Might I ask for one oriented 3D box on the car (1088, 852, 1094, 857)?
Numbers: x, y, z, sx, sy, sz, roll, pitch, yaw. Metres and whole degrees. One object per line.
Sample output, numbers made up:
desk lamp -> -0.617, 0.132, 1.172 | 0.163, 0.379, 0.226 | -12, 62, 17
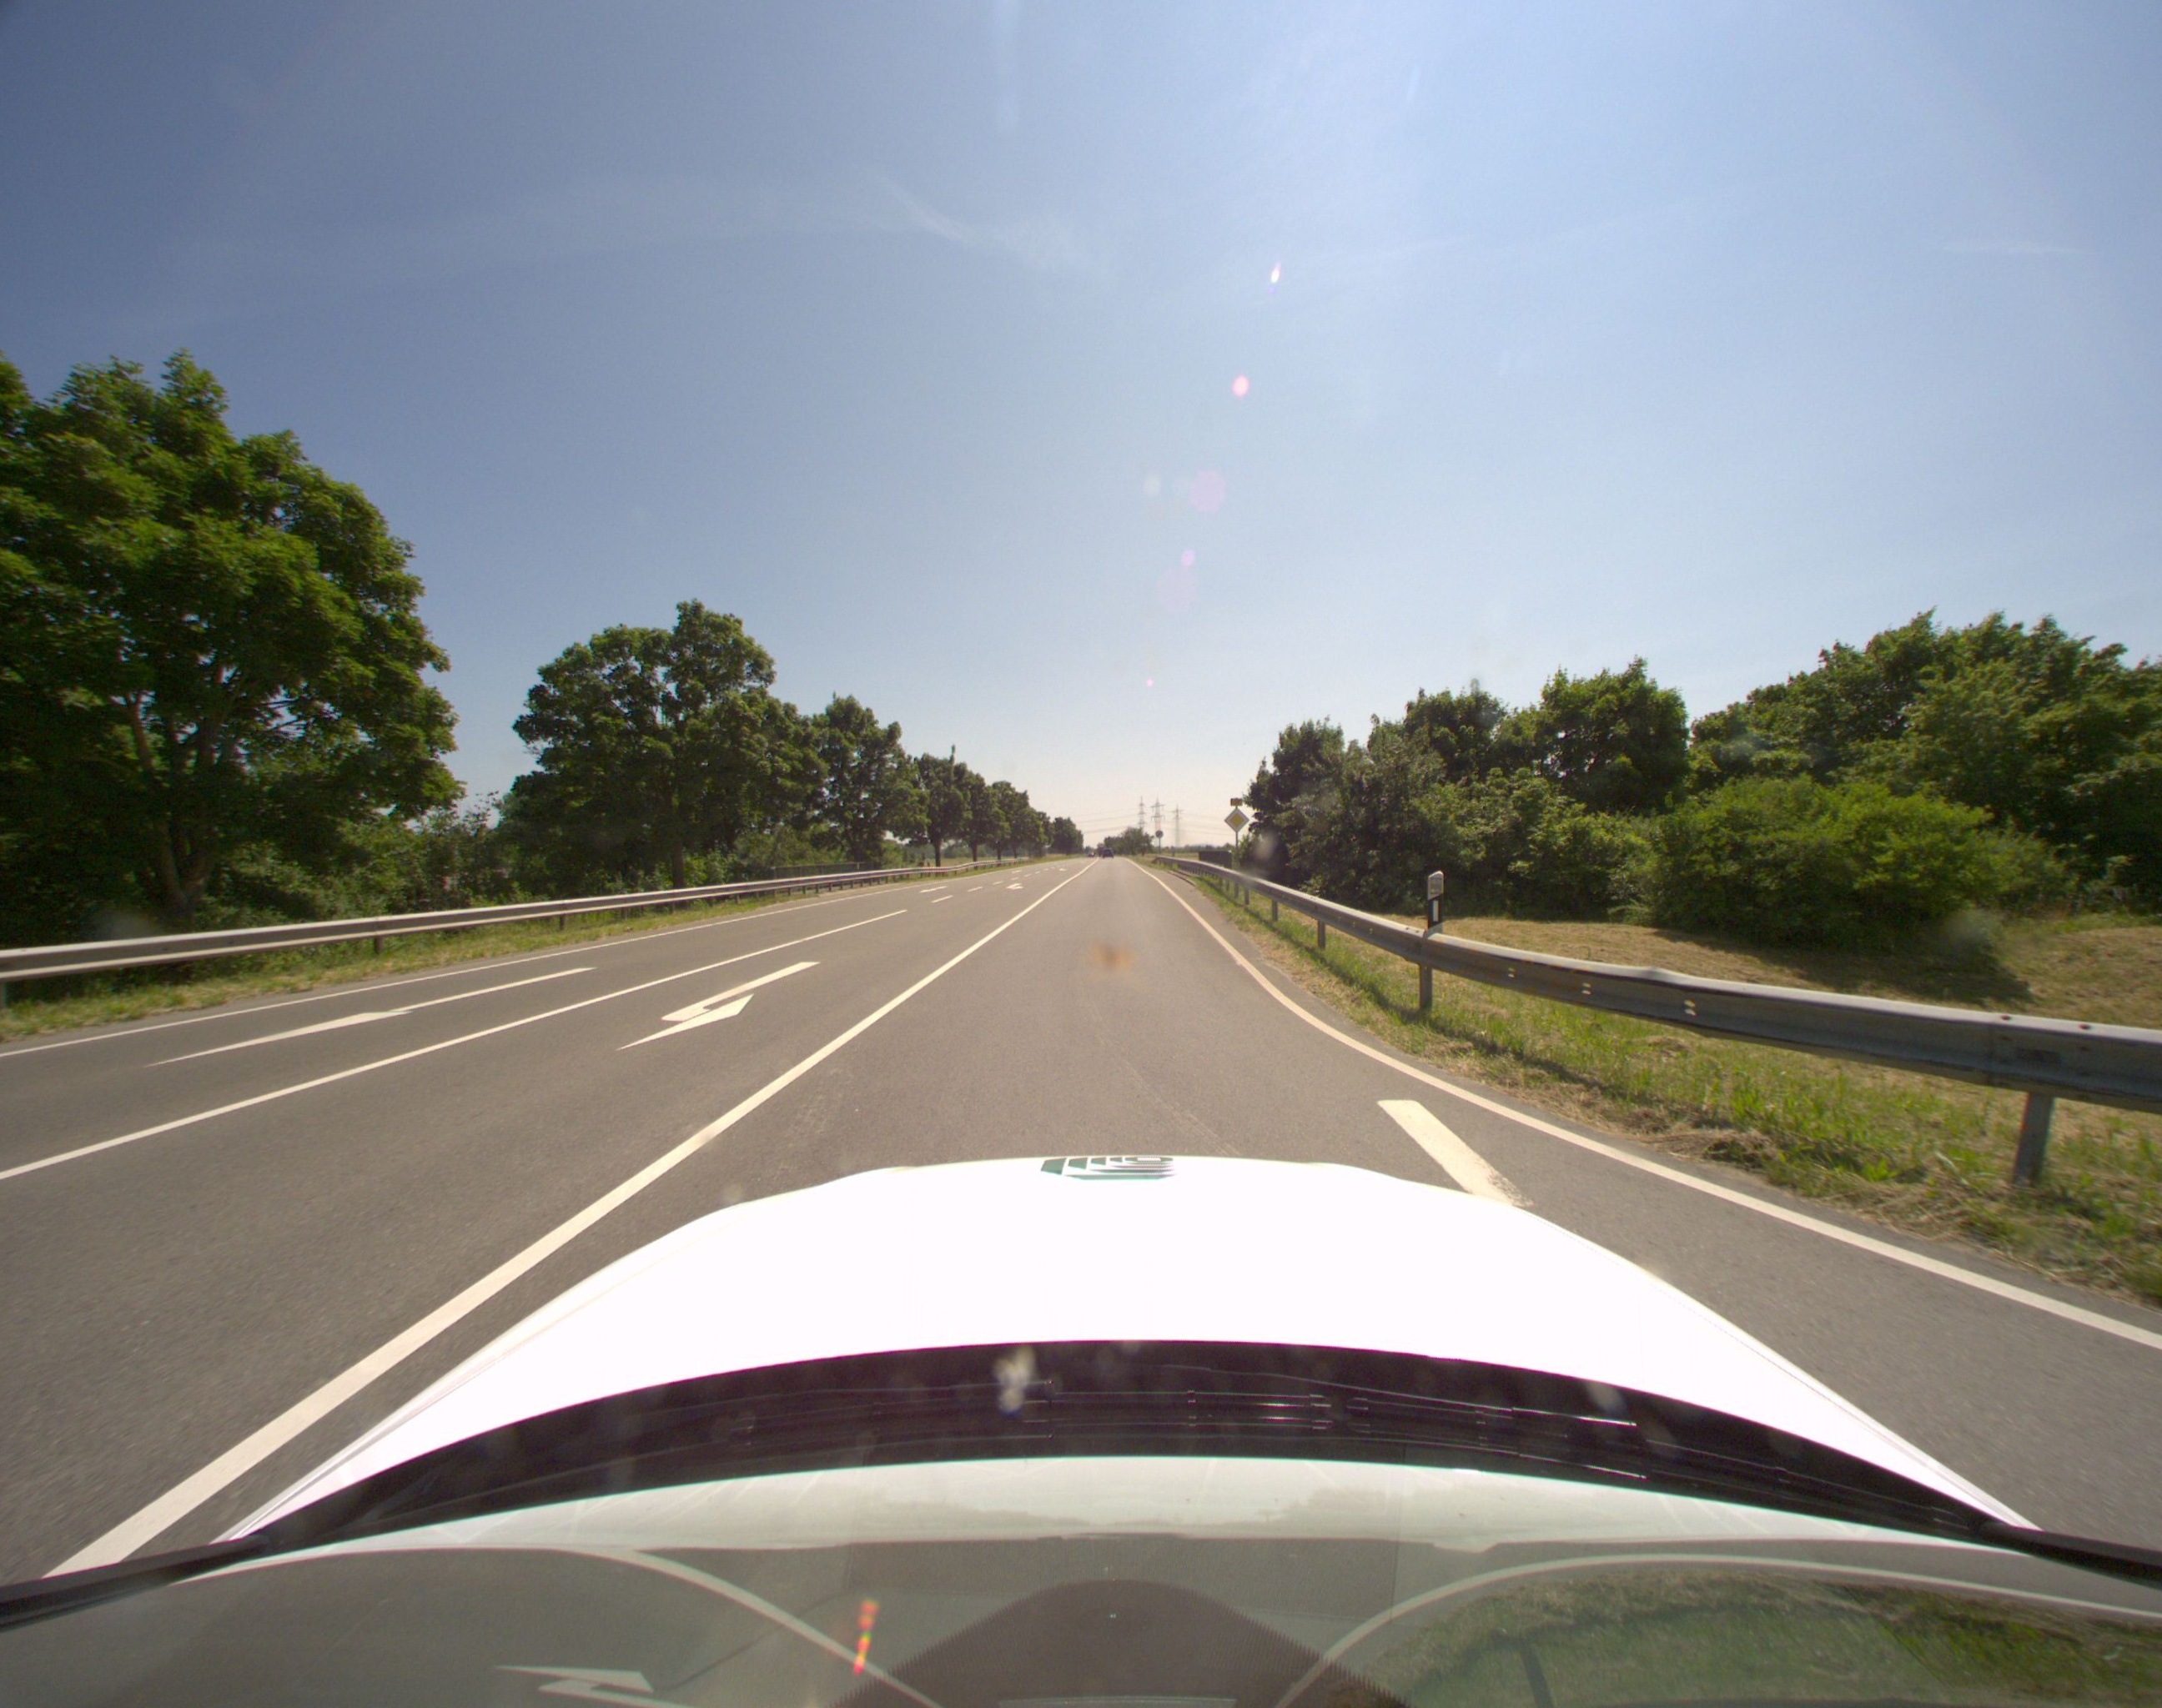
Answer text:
car -> 3.022, 0.238, 243.747 | 1.733, 1.473, 4.619 | -2, 0, 1

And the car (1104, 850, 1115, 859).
car -> 4.851, 0.032, 139.158 | 1.878, 1.518, 4.039 | 1, 0, 0
